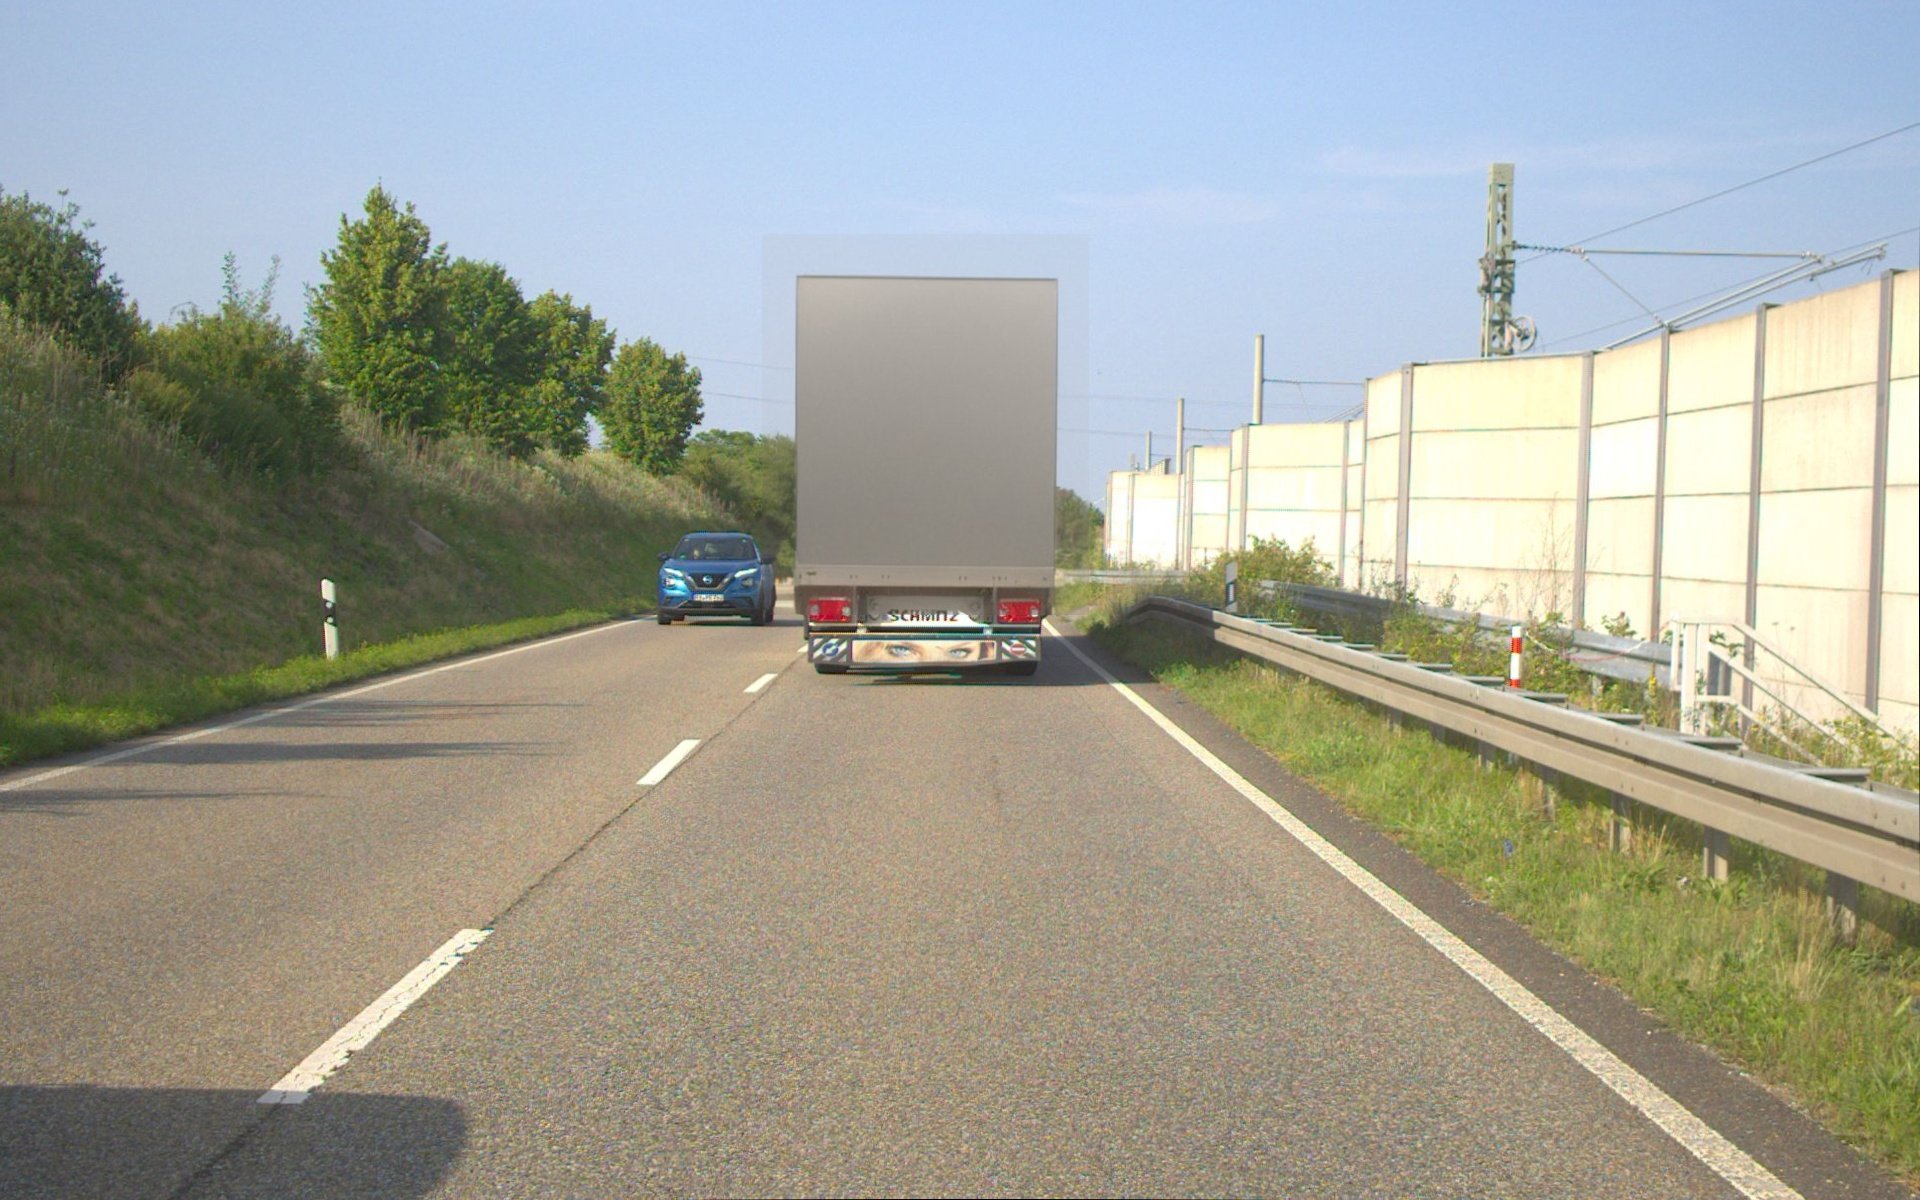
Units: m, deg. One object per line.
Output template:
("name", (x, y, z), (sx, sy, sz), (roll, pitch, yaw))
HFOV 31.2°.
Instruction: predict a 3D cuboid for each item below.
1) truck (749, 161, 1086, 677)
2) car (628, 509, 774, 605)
("truck", (-0.446, -1.916, 40.036), (3.290, 5.072, 12.038), (1, 1, 0))
("car", (-4.402, -0.772, 59.221), (2.141, 1.568, 5.340), (0, 1, 0))
